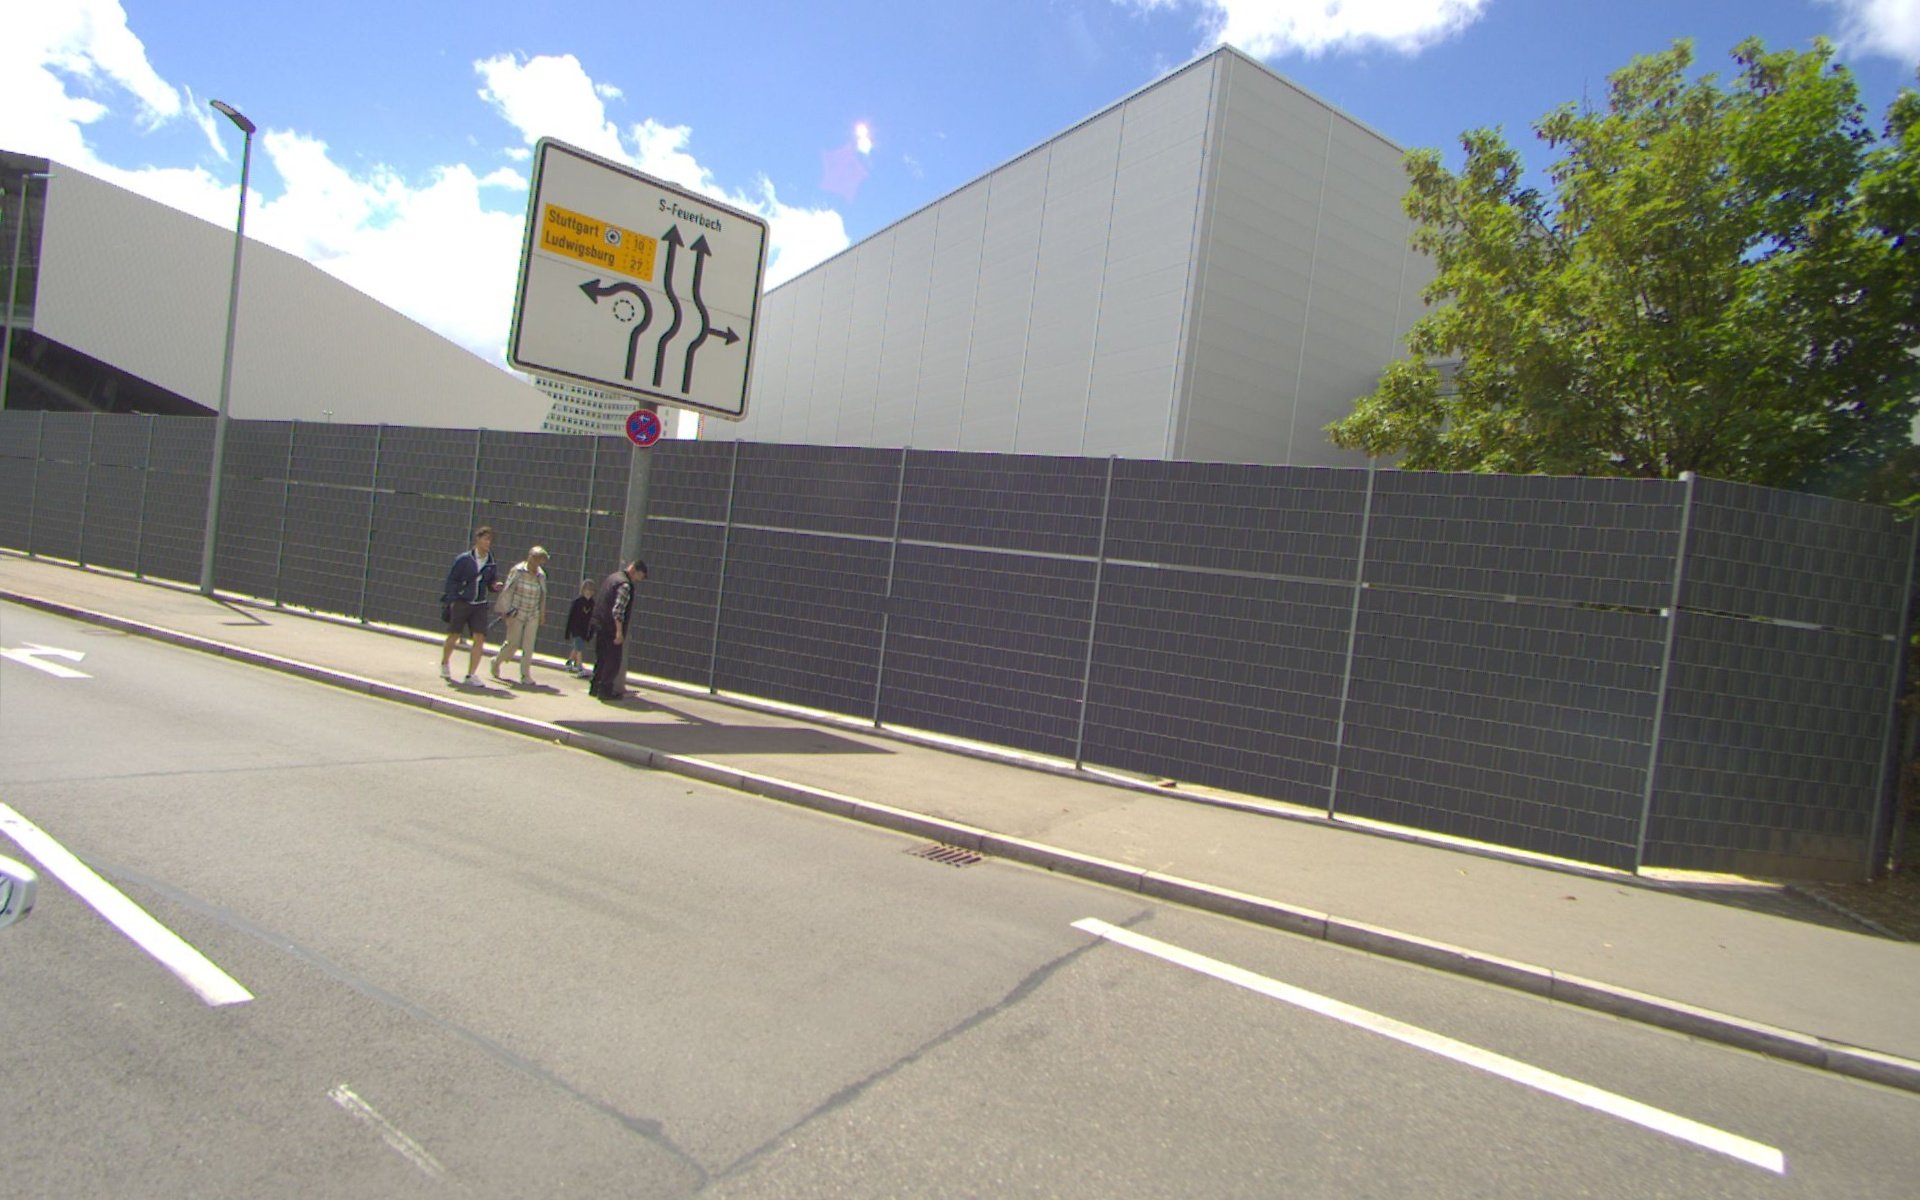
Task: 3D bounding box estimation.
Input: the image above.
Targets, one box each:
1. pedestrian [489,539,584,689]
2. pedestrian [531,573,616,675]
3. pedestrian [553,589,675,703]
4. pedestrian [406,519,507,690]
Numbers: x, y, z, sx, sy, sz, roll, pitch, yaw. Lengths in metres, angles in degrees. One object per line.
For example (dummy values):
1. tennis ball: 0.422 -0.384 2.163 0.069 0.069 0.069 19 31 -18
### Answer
1. pedestrian: -4.916 0.163 11.664 0.788 1.616 0.726 7 -1 -29
2. pedestrian: -5.005 0.315 13.042 0.704 1.221 0.598 6 -1 31
3. pedestrian: -3.929 0.526 11.433 0.955 1.162 0.759 6 -1 32
4. pedestrian: -5.539 0.051 11.100 0.788 1.741 0.727 7 -1 -27
